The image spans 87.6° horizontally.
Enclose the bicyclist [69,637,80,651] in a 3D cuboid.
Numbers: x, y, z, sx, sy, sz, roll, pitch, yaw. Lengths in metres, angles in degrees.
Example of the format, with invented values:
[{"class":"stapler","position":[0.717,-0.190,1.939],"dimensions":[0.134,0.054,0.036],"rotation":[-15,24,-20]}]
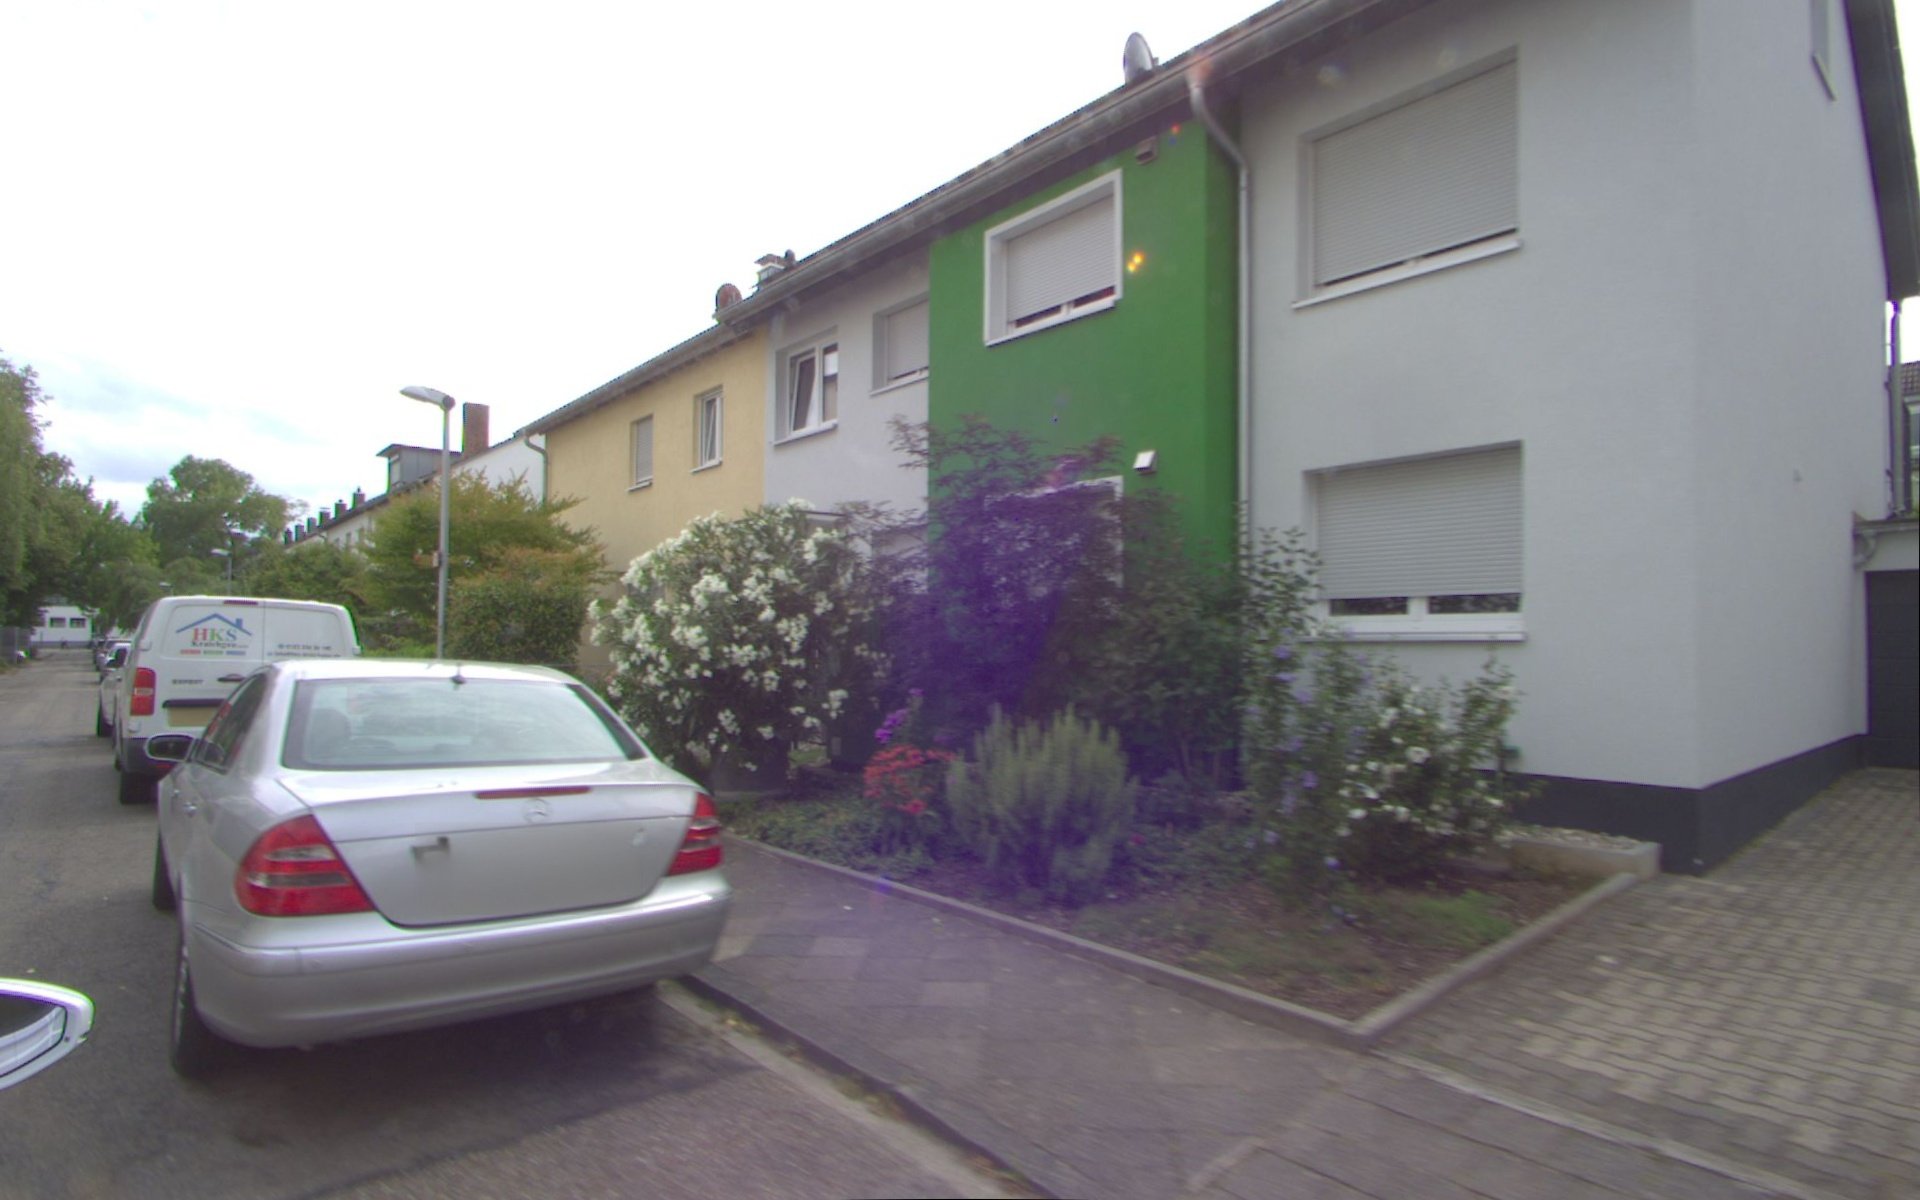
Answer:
[{"class":"bicyclist","position":[-99.069,4.914,111.987],"dimensions":[0.792,1.529,0.926],"rotation":[4,-4,-39]}]

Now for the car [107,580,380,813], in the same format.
[{"class":"car","position":[-8.149,0.950,11.142],"dimensions":[1.891,1.988,5.208],"rotation":[4,-4,-41]}]

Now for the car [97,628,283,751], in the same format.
[{"class":"car","position":[-12.076,1.312,15.603],"dimensions":[1.814,1.655,4.122],"rotation":[4,-4,-43]}]

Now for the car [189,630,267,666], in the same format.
[{"class":"car","position":[-34.970,2.253,47.845],"dimensions":[2.797,1.589,1.724],"rotation":[0,-1,-44]}]

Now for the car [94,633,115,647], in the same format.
[{"class":"car","position":[-105.245,4.873,123.210],"dimensions":[1.812,1.600,3.967],"rotation":[5,-5,-40]}]

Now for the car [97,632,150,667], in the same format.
[{"class":"car","position":[-41.710,2.461,49.908],"dimensions":[1.814,1.600,3.964],"rotation":[5,-5,-42]}]

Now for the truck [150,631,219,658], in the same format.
[{"class":"truck","position":[-63.228,3.612,81.695],"dimensions":[4.358,2.039,1.982],"rotation":[0,-2,-42]}]

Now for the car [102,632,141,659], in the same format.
[{"class":"car","position":[-54.610,2.952,65.216],"dimensions":[1.812,1.600,4.158],"rotation":[5,-5,-40]}]

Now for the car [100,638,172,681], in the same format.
[{"class":"car","position":[-29.631,2.120,35.999],"dimensions":[1.812,1.387,4.294],"rotation":[5,-5,-40]}]

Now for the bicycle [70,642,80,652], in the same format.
[{"class":"bicycle","position":[-99.003,5.233,112.008],"dimensions":[0.683,1.145,2.559],"rotation":[4,-4,-38]}]

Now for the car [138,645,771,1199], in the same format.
[{"class":"car","position":[-2.791,0.978,4.872],"dimensions":[1.770,1.438,4.420],"rotation":[4,-4,-39]}]
